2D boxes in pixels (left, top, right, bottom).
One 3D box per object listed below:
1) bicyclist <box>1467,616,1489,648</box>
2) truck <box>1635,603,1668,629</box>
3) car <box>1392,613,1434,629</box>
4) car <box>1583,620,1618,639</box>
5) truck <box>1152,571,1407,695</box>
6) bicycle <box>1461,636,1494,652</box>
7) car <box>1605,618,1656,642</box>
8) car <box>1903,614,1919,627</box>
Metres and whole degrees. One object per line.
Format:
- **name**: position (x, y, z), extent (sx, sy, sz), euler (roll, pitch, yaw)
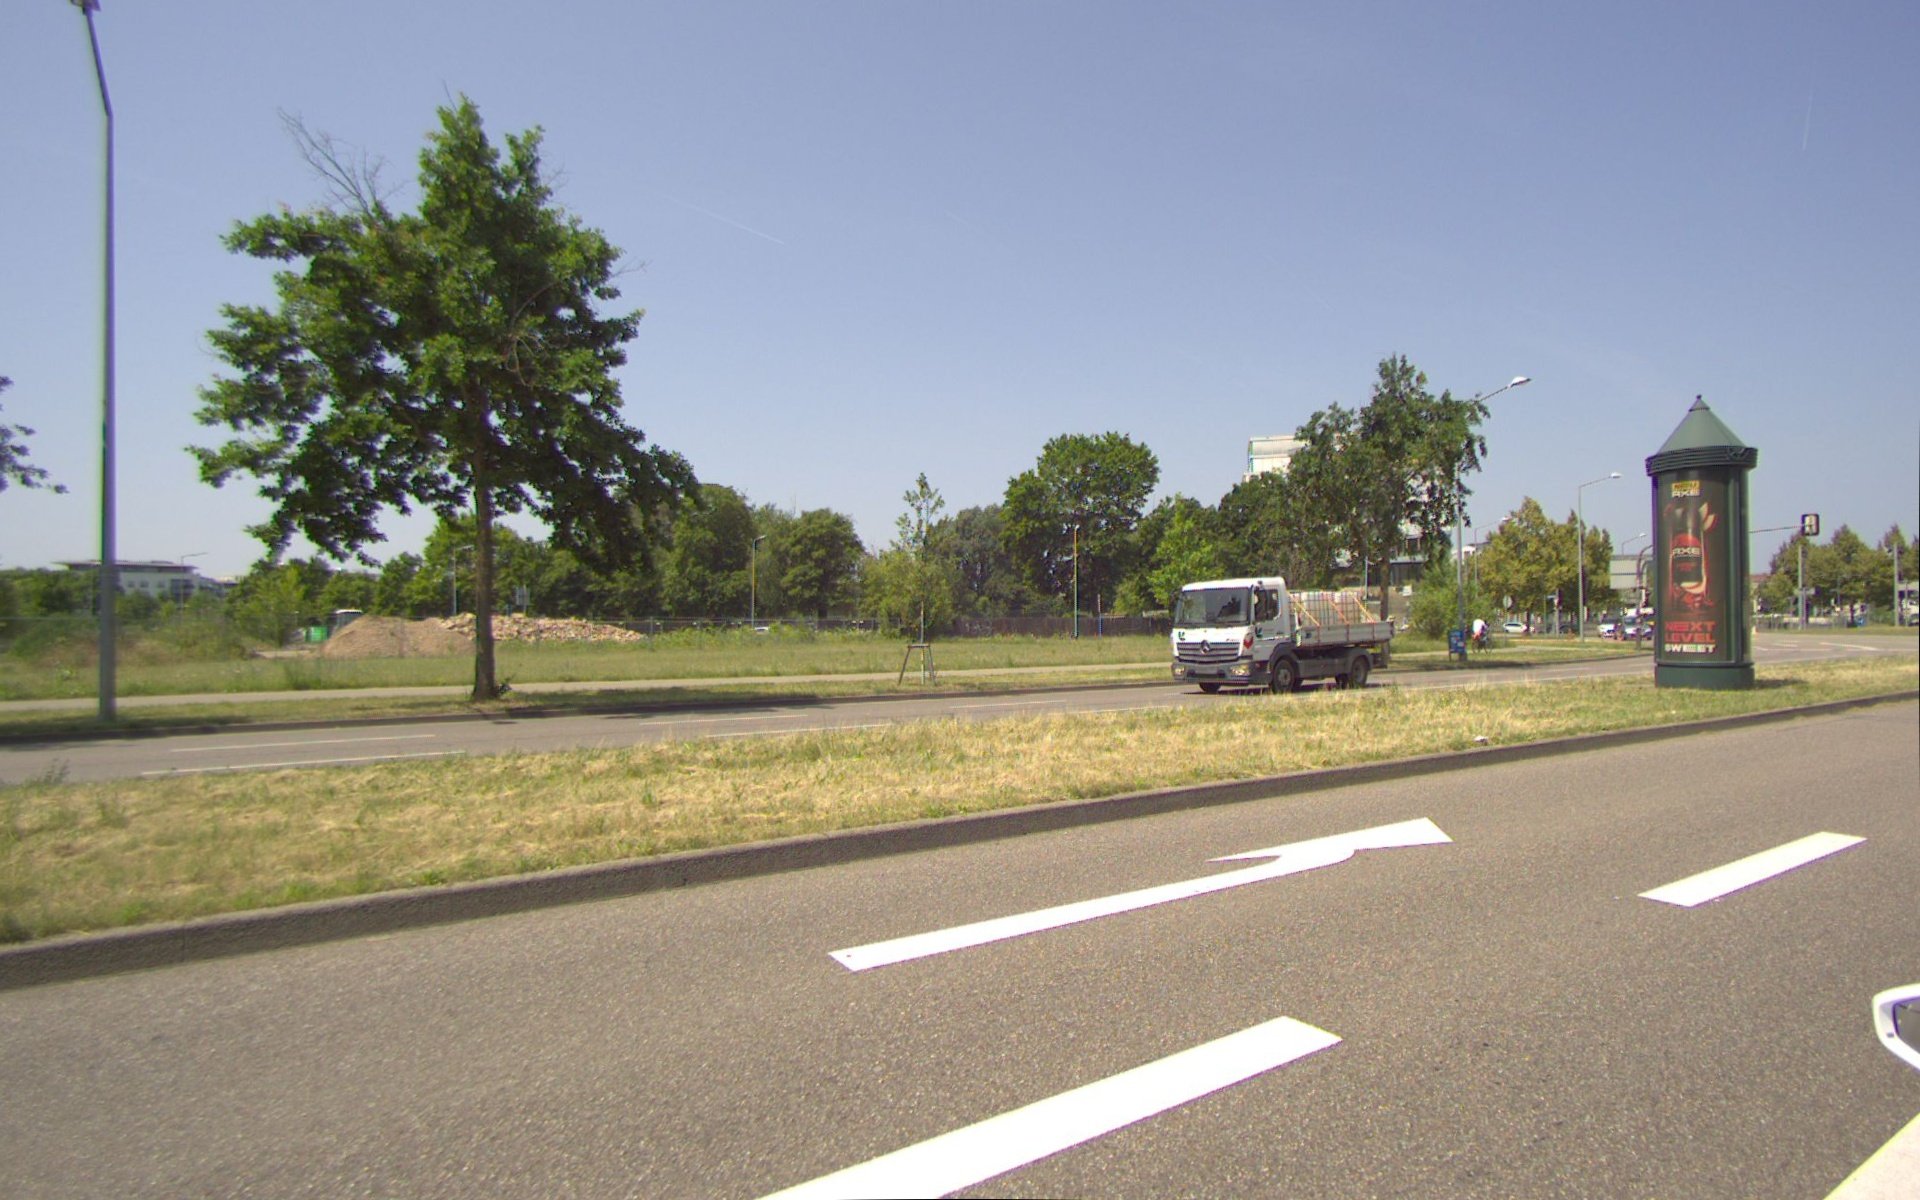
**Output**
- **bicyclist**: position (24.230, 1.493, 47.012), extent (0.748, 1.509, 0.620), euler (0, -1, -31)
- **truck**: position (75.174, 1.766, 109.331), extent (2.319, 2.629, 6.402), euler (-1, -2, 29)
- **car**: position (54.978, 2.499, 121.913), extent (4.205, 1.903, 2.000), euler (0, -1, -1)
- **car**: position (50.489, 2.343, 79.250), extent (1.713, 1.443, 3.838), euler (-1, -2, 24)
- **truck**: position (7.772, 0.789, 24.103), extent (6.257, 2.610, 2.621), euler (1, -3, -36)
- **bicycle**: position (24.237, 2.045, 47.016), extent (1.829, 0.724, 0.478), euler (0, -1, -31)
- **car**: position (46.291, 2.037, 69.445), extent (1.960, 1.617, 4.001), euler (-1, -1, 19)
- **car**: position (98.177, 2.088, 101.433), extent (1.964, 1.305, 3.994), euler (0, -1, -9)
